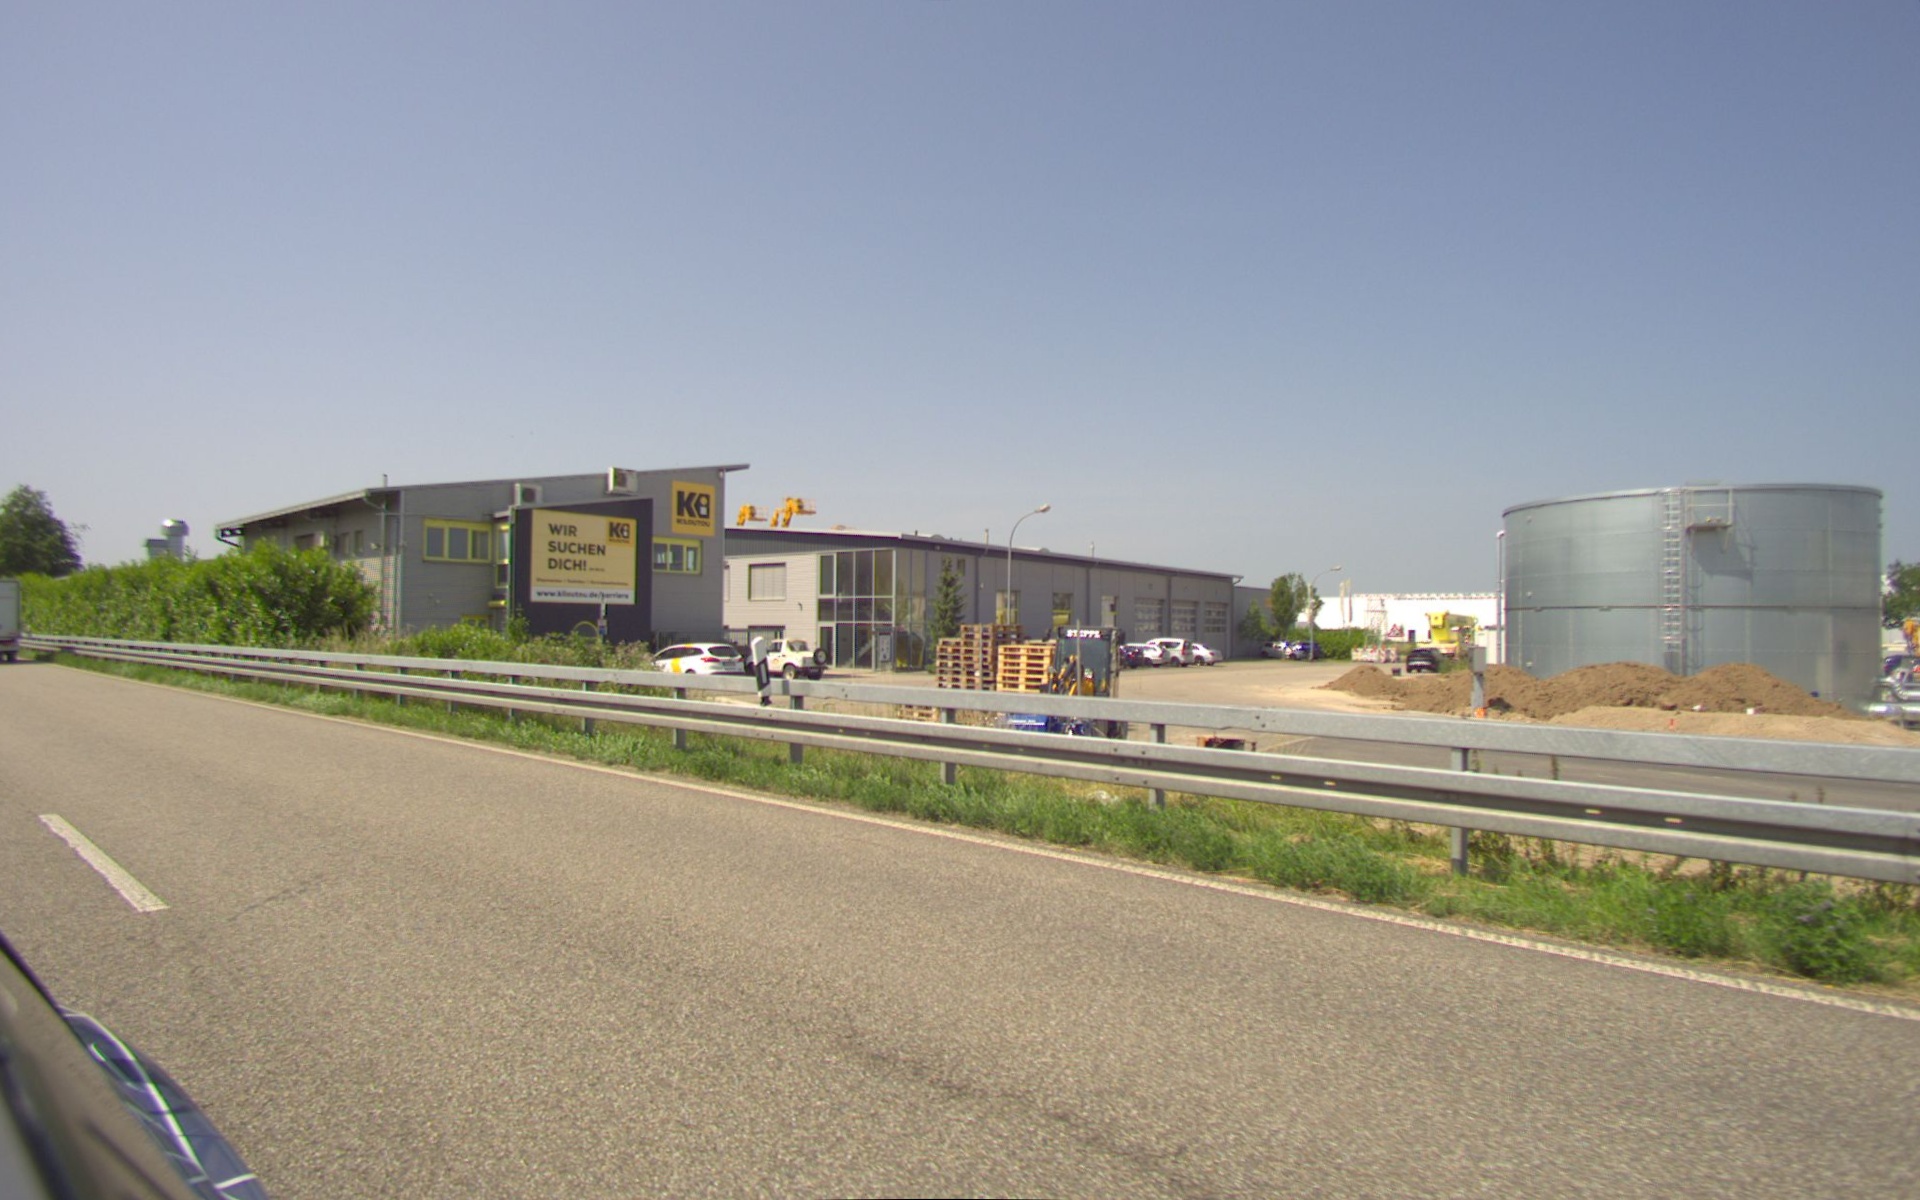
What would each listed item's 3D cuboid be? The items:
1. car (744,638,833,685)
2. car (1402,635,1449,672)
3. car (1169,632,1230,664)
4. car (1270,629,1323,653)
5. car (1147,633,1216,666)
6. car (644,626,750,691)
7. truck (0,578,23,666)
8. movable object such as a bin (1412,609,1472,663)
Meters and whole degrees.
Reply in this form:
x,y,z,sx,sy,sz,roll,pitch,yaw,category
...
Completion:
x,y,z,sx,sy,sz,roll,pitch,yaw,category
-6.671,2.356,39.346,3.306,1.686,1.536,-1,-3,36,car
28.442,3.233,61.778,1.889,2.029,3.952,-1,0,36,car
16.190,3.209,68.437,3.599,2.029,1.810,-1,0,42,car
29.631,3.609,89.143,4.000,2.029,1.972,-1,-4,43,car
14.615,3.233,66.852,3.997,2.029,1.973,-1,0,40,car
-8.753,1.925,33.602,3.478,2.029,1.458,-1,-4,36,car
-35.461,0.785,36.098,6.313,2.990,2.213,-1,0,40,truck
31.844,2.297,66.720,2.789,3.318,5.248,-1,0,34,movable object such as a bin
